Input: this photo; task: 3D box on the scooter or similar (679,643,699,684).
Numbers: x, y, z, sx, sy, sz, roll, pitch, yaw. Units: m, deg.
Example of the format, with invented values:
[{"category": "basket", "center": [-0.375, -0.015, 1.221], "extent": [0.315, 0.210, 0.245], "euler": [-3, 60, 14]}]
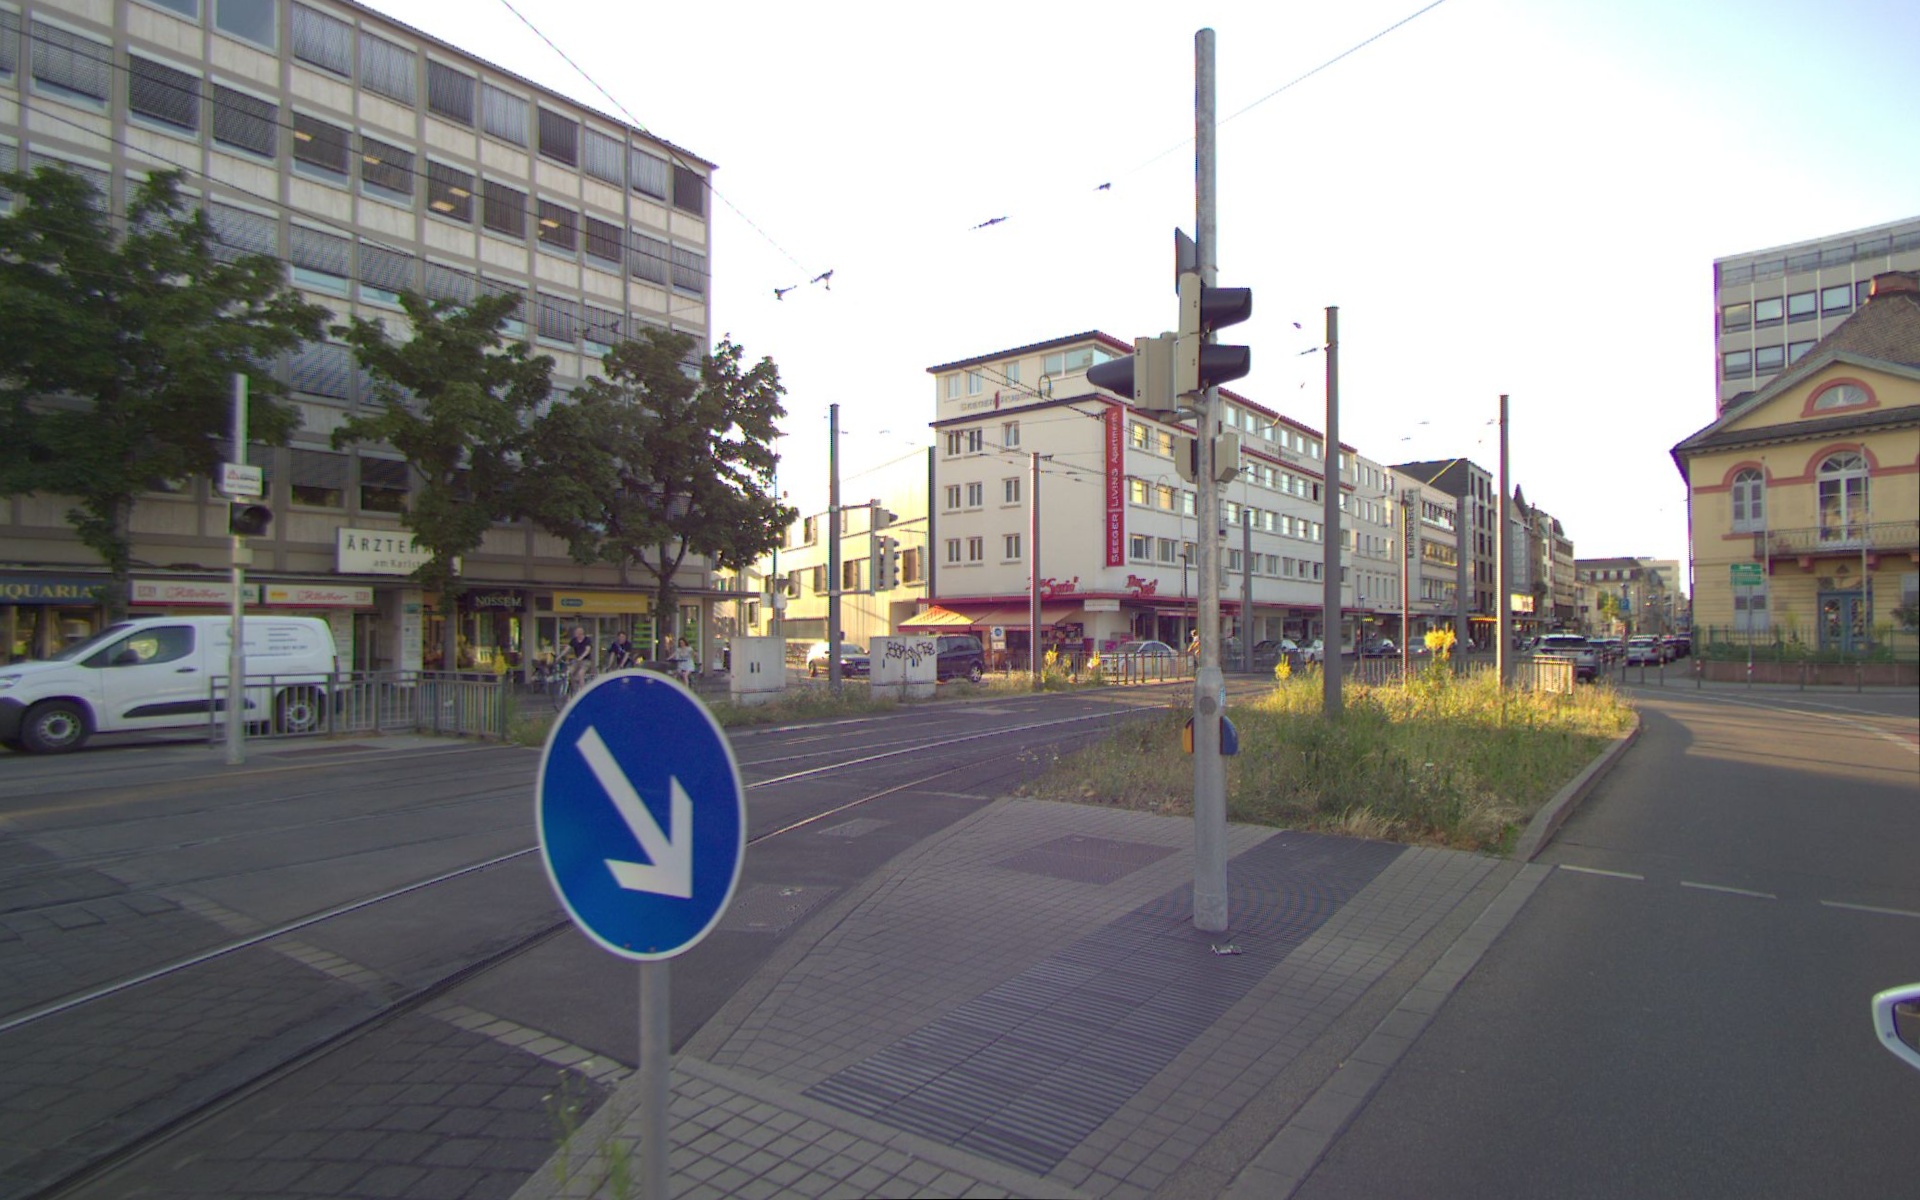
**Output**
[{"category": "scooter or similar", "center": [-9.088, 2.112, 33.646], "extent": [0.507, 1.339, 1.275], "euler": [1, -2, -21]}]

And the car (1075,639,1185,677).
[{"category": "car", "center": [7.056, 2.338, 41.448], "extent": [4.624, 1.460, 2.017], "euler": [2, -2, -41]}]

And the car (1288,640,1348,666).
[{"category": "car", "center": [21.506, 3.157, 60.266], "extent": [1.971, 1.484, 4.379], "euler": [-2, -2, 41]}]

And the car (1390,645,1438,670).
[{"category": "car", "center": [34.220, 4.315, 75.650], "extent": [1.971, 1.687, 4.615], "euler": [2, -1, 41]}]

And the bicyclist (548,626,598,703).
[{"category": "bicyclist", "center": [-8.461, 1.398, 21.974], "extent": [0.722, 1.633, 0.700], "euler": [0, -2, 13]}]

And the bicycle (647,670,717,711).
[{"category": "bicycle", "center": [-7.184, 2.327, 26.064], "extent": [0.710, 0.942, 1.954], "euler": [-1, -2, 21]}]

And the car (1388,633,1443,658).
[{"category": "car", "center": [30.533, 3.032, 67.217], "extent": [2.174, 1.580, 4.257], "euler": [-1, -2, 42]}]

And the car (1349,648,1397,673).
[{"category": "car", "center": [29.505, 4.273, 71.707], "extent": [1.971, 1.687, 3.980], "euler": [-1, -2, 41]}]

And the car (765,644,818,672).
[{"category": "car", "center": [-10.438, 3.533, 62.035], "extent": [1.864, 1.594, 4.217], "euler": [1, -2, -30]}]

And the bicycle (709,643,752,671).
[{"category": "bicycle", "center": [-10.340, 2.564, 45.261], "extent": [1.763, 1.201, 0.549], "euler": [4, -4, -35]}]

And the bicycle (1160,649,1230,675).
[{"category": "bicycle", "center": [8.437, 2.213, 36.105], "extent": [2.375, 0.858, 0.846], "euler": [0, -2, 20]}]

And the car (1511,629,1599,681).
[{"category": "car", "center": [20.884, 1.880, 35.421], "extent": [1.911, 1.683, 4.535], "euler": [-1, -2, 21]}]

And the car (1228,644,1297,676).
[{"category": "car", "center": [17.008, 3.325, 56.354], "extent": [1.971, 1.687, 4.815], "euler": [-1, -2, 41]}]

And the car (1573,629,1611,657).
[{"category": "car", "center": [41.861, 2.825, 66.518], "extent": [1.785, 1.832, 3.985], "euler": [-1, -2, 37]}]

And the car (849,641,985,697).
[{"category": "car", "center": [-1.265, 2.096, 31.334], "extent": [1.968, 1.594, 4.287], "euler": [-1, -2, 37]}]

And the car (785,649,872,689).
[{"category": "car", "center": [-5.396, 2.749, 40.770], "extent": [1.720, 1.455, 4.329], "euler": [1, -2, -35]}]

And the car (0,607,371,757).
[{"category": "car", "center": [-11.607, 1.083, 14.619], "extent": [1.969, 1.862, 4.857], "euler": [-1, -2, 37]}]

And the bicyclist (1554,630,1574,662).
[{"category": "bicyclist", "center": [31.147, 2.361, 51.770], "extent": [0.819, 1.589, 0.784], "euler": [-1, -2, 36]}]

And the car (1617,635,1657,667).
[{"category": "car", "center": [37.662, 2.837, 55.832], "extent": [1.710, 1.730, 3.428], "euler": [-2, -3, 36]}]

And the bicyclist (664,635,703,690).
[{"category": "bicyclist", "center": [-7.179, 1.614, 26.098], "extent": [0.702, 1.387, 0.684], "euler": [0, -2, 20]}]

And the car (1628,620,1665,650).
[{"category": "car", "center": [41.065, 2.105, 60.082], "extent": [1.709, 1.731, 3.792], "euler": [-1, -2, 36]}]

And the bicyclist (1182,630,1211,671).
[{"category": "bicyclist", "center": [8.497, 1.801, 36.097], "extent": [0.912, 1.460, 0.835], "euler": [0, -2, 20]}]

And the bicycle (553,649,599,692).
[{"category": "bicycle", "center": [-11.418, 2.075, 29.823], "extent": [1.612, 1.200, 0.536], "euler": [-1, -2, 39]}]

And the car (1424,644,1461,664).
[{"category": "car", "center": [42.609, 4.731, 88.671], "extent": [1.971, 1.687, 3.980], "euler": [-1, -2, 41]}]

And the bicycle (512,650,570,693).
[{"category": "bicycle", "center": [-12.188, 2.070, 29.197], "extent": [1.715, 1.155, 0.665], "euler": [0, -1, 31]}]

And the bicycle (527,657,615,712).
[{"category": "bicycle", "center": [-8.458, 1.806, 21.947], "extent": [0.741, 1.090, 2.059], "euler": [0, -2, 14]}]

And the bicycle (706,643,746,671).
[{"category": "bicycle", "center": [-10.774, 2.626, 46.240], "extent": [1.701, 1.201, 0.534], "euler": [4, -4, -35]}]
